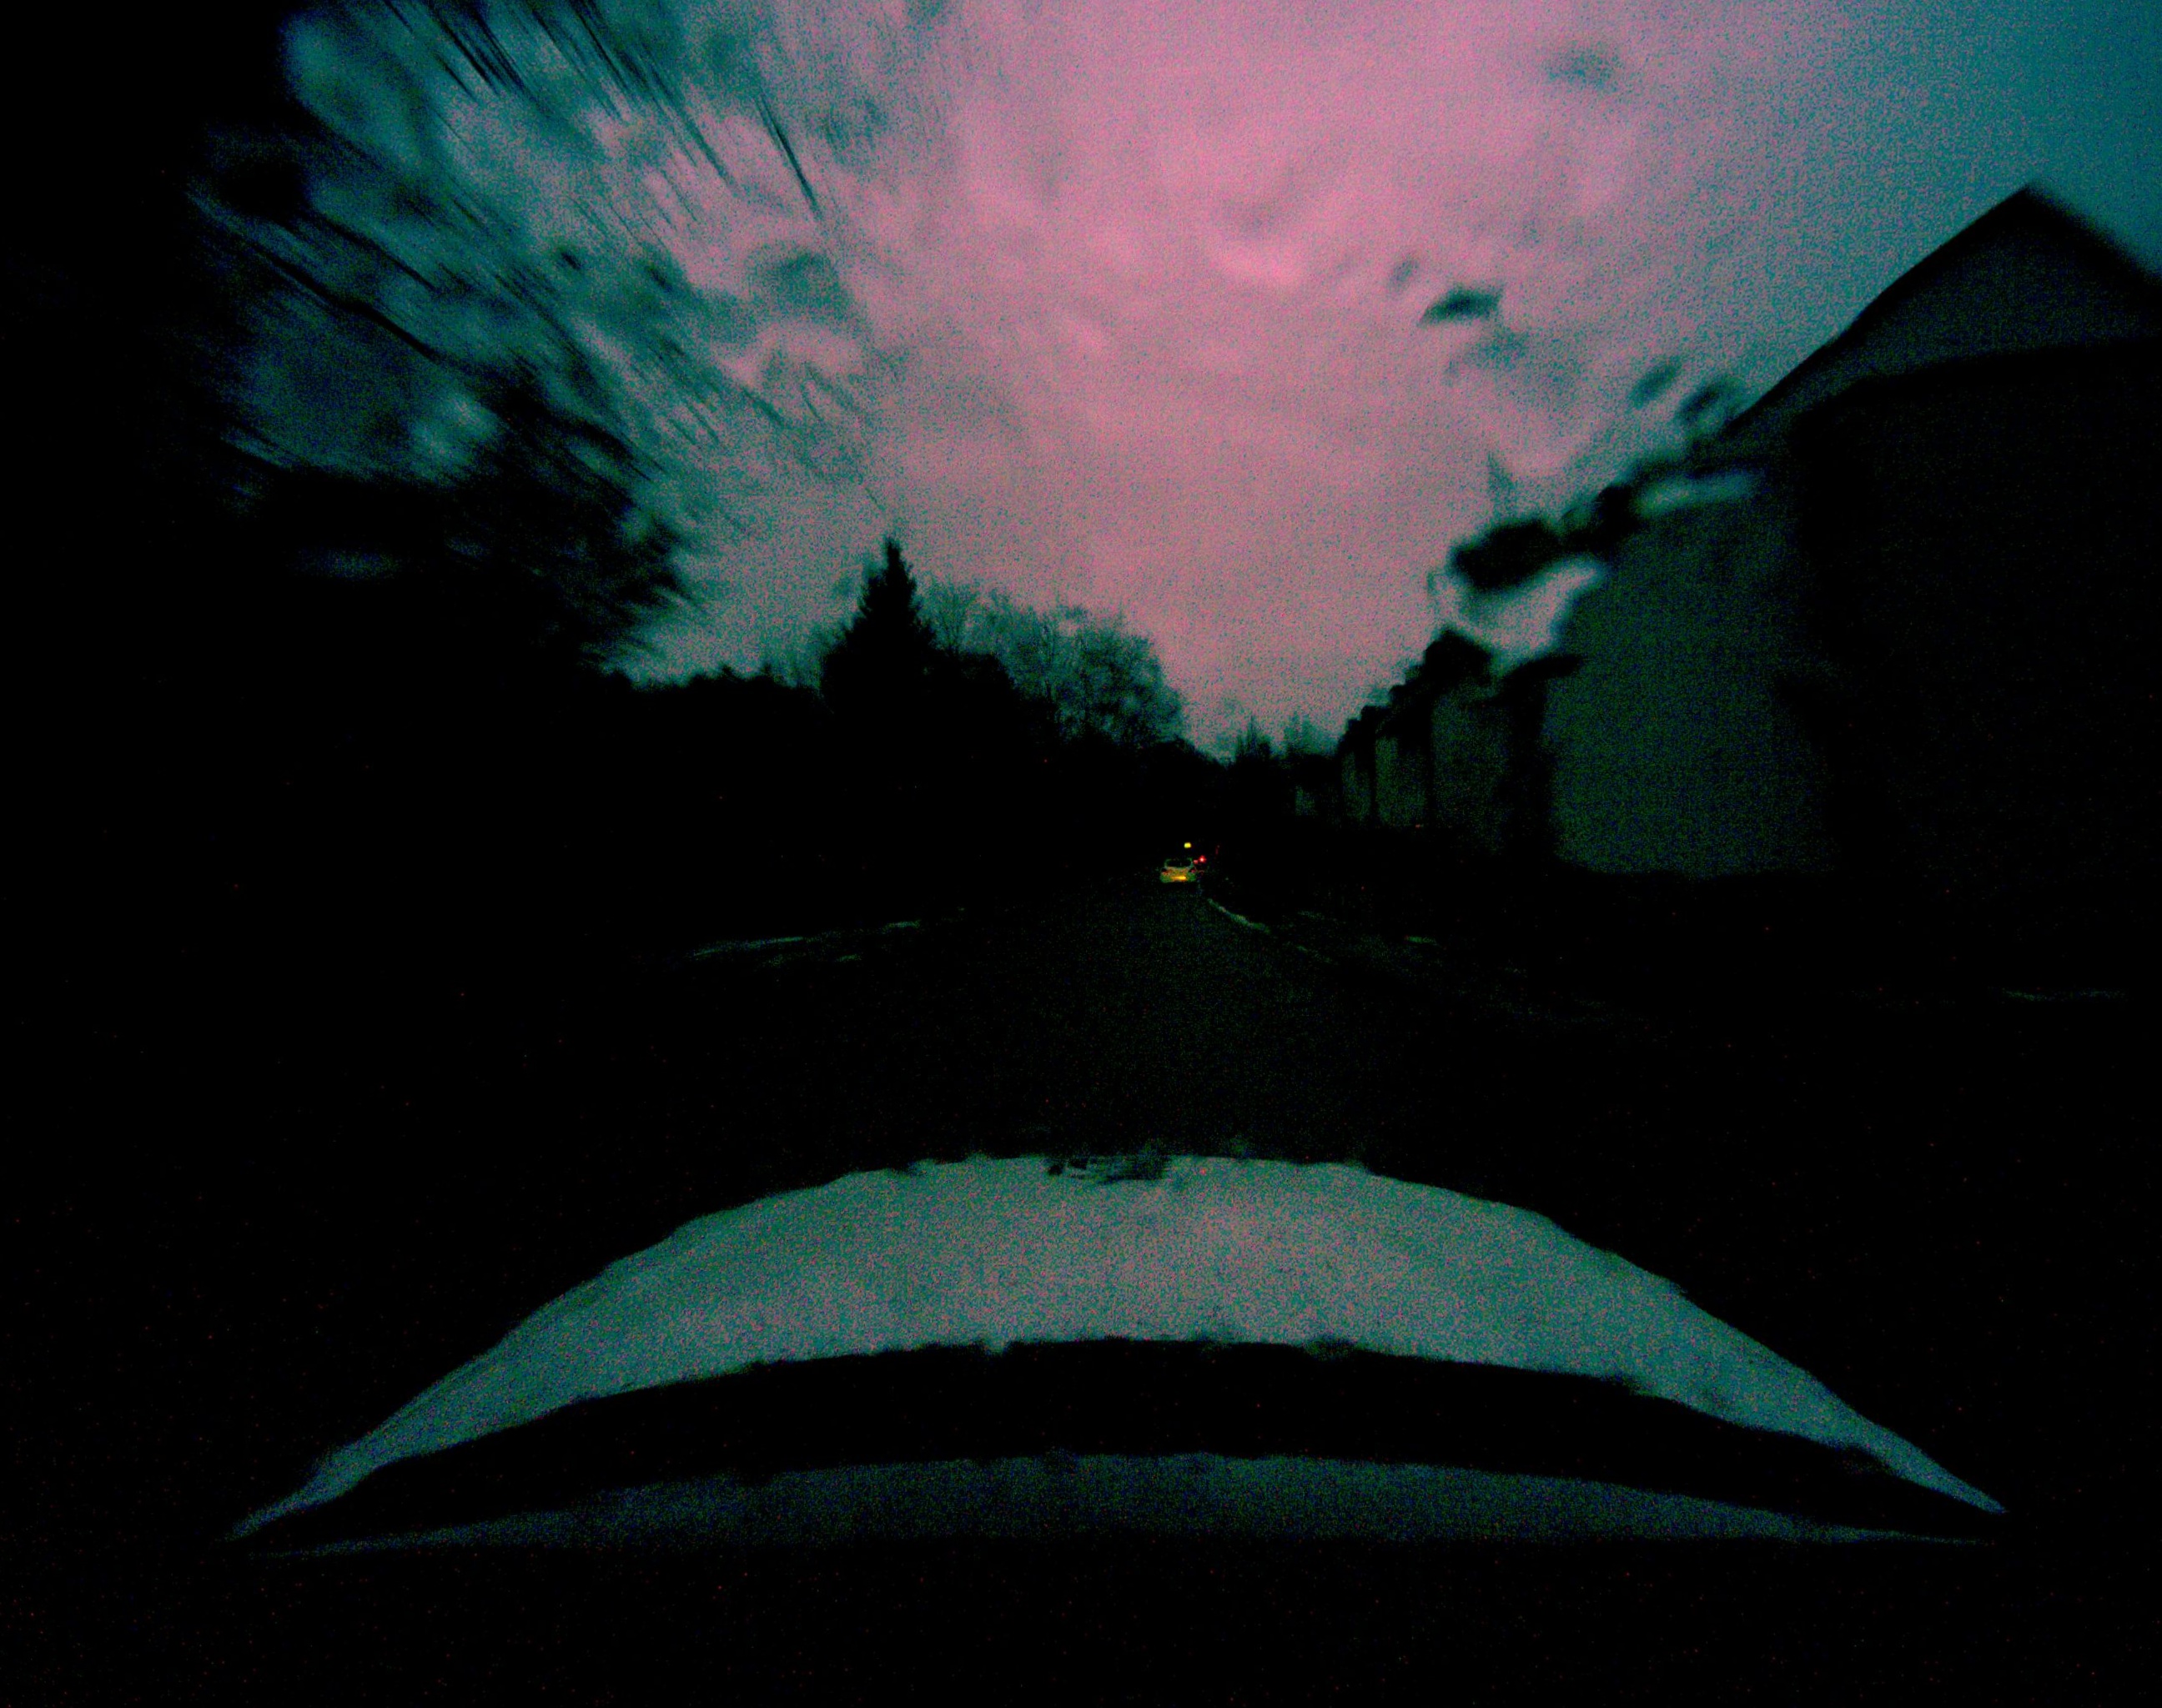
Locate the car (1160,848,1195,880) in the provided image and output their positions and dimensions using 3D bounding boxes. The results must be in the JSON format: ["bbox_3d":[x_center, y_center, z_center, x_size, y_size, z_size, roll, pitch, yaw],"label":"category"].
[{"bbox_3d":[4.925,0.516,41.584,1.695,1.506,4.032,-1,-1,6],"label":"car"}]

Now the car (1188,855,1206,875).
[{"bbox_3d":[11.651,1.081,81.720,1.679,1.774,3.871,-3,0,9],"label":"car"}]
